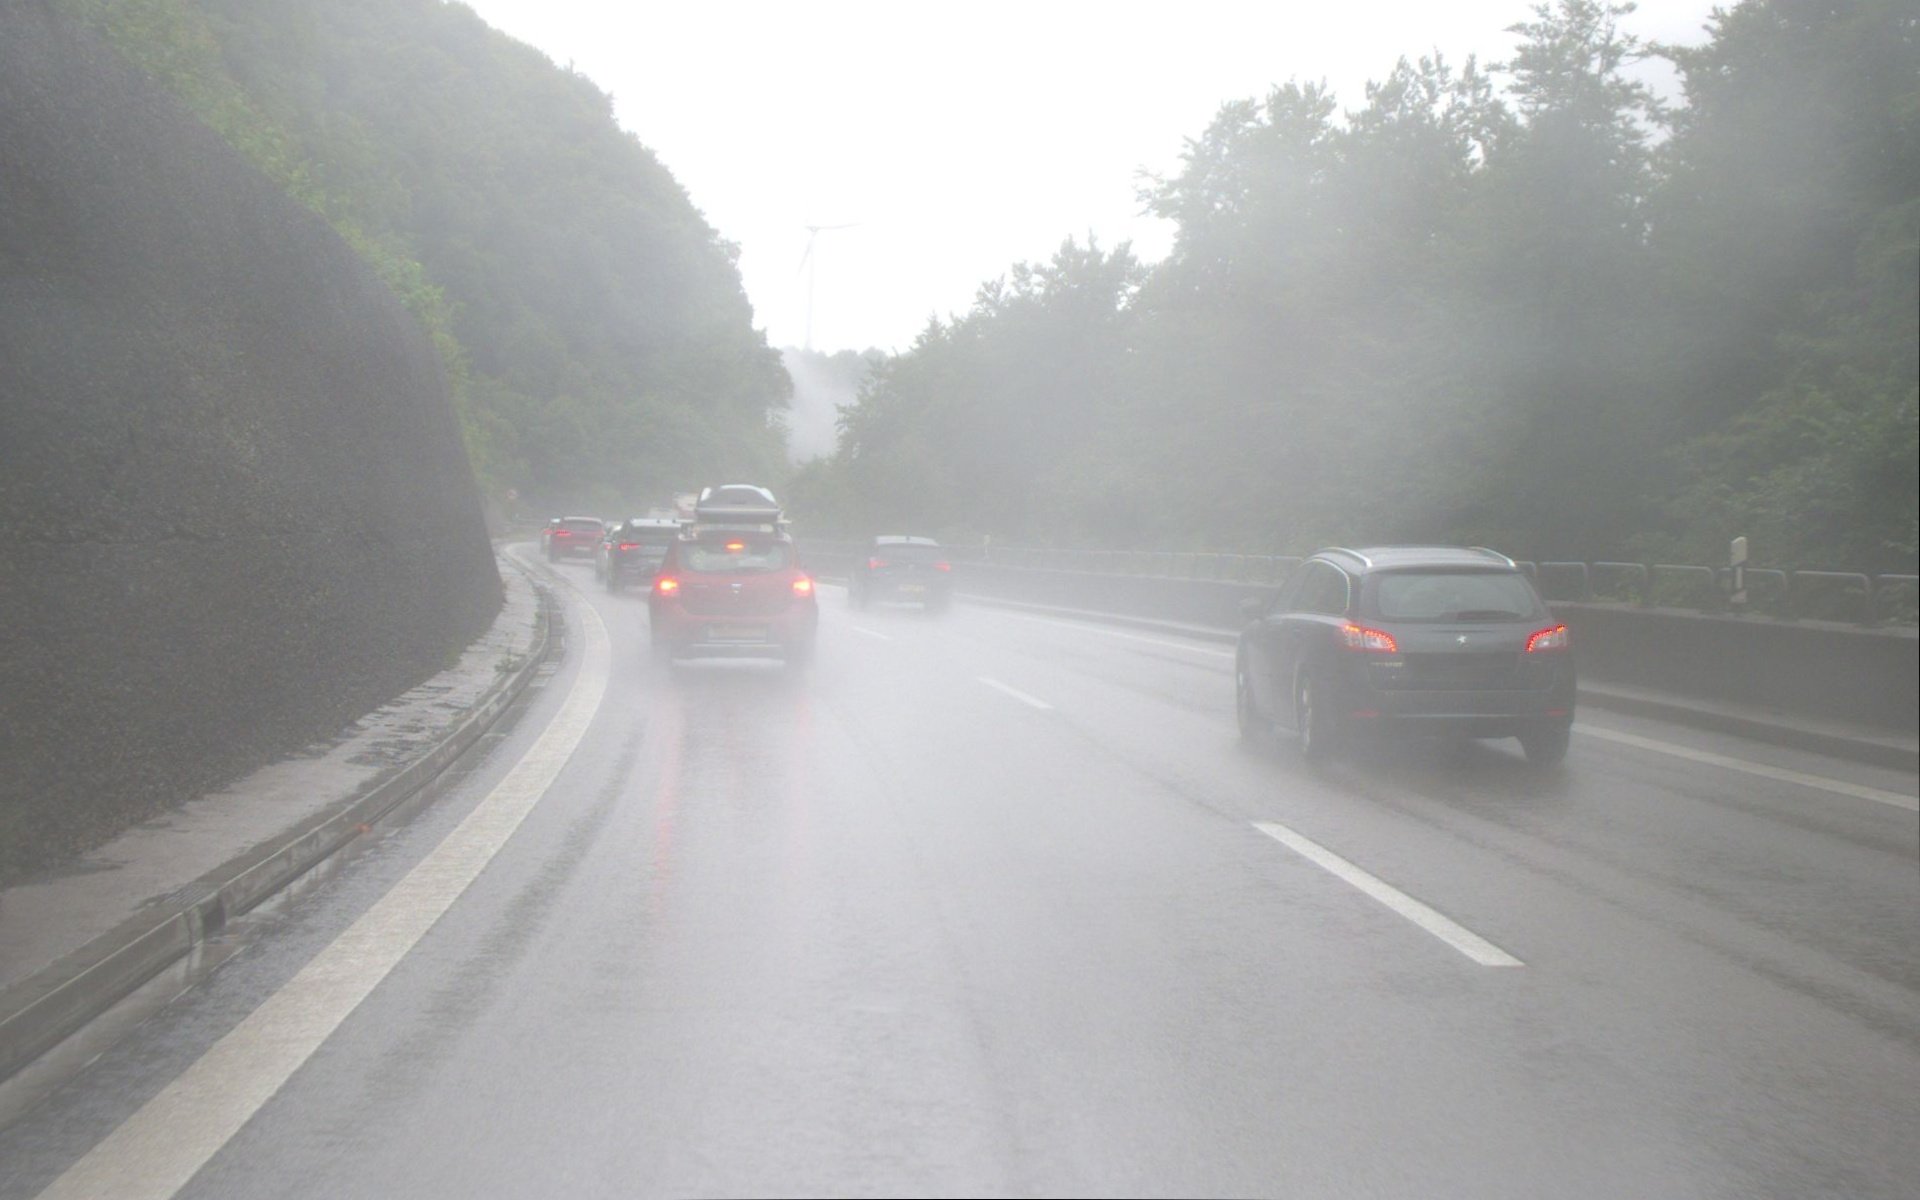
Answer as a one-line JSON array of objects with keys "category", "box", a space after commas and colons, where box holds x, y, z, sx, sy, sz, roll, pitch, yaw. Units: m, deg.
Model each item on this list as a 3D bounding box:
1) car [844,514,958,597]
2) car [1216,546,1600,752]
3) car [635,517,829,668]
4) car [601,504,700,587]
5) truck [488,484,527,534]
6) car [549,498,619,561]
[{"category": "car", "box": [-1.195, -0.899, 67.672, 1.993, 1.546, 4.001, 1, 1, -5]}, {"category": "car", "box": [3.035, 0.284, 24.089, 1.800, 1.303, 4.001, 0, 1, -6]}, {"category": "car", "box": [-2.537, -0.097, 37.571, 1.993, 1.547, 4.001, 0, 0, -5]}, {"category": "car", "box": [-6.631, -1.136, 73.360, 1.993, 1.678, 4.001, 1, 0, -6]}, {"category": "truck", "box": [-26.018, -5.215, 197.561, 1.993, 2.741, 5.588, 2, 1, -9]}, {"category": "car", "box": [-12.659, -2.355, 115.696, 1.993, 2.007, 4.001, 1, 0, -11]}]
